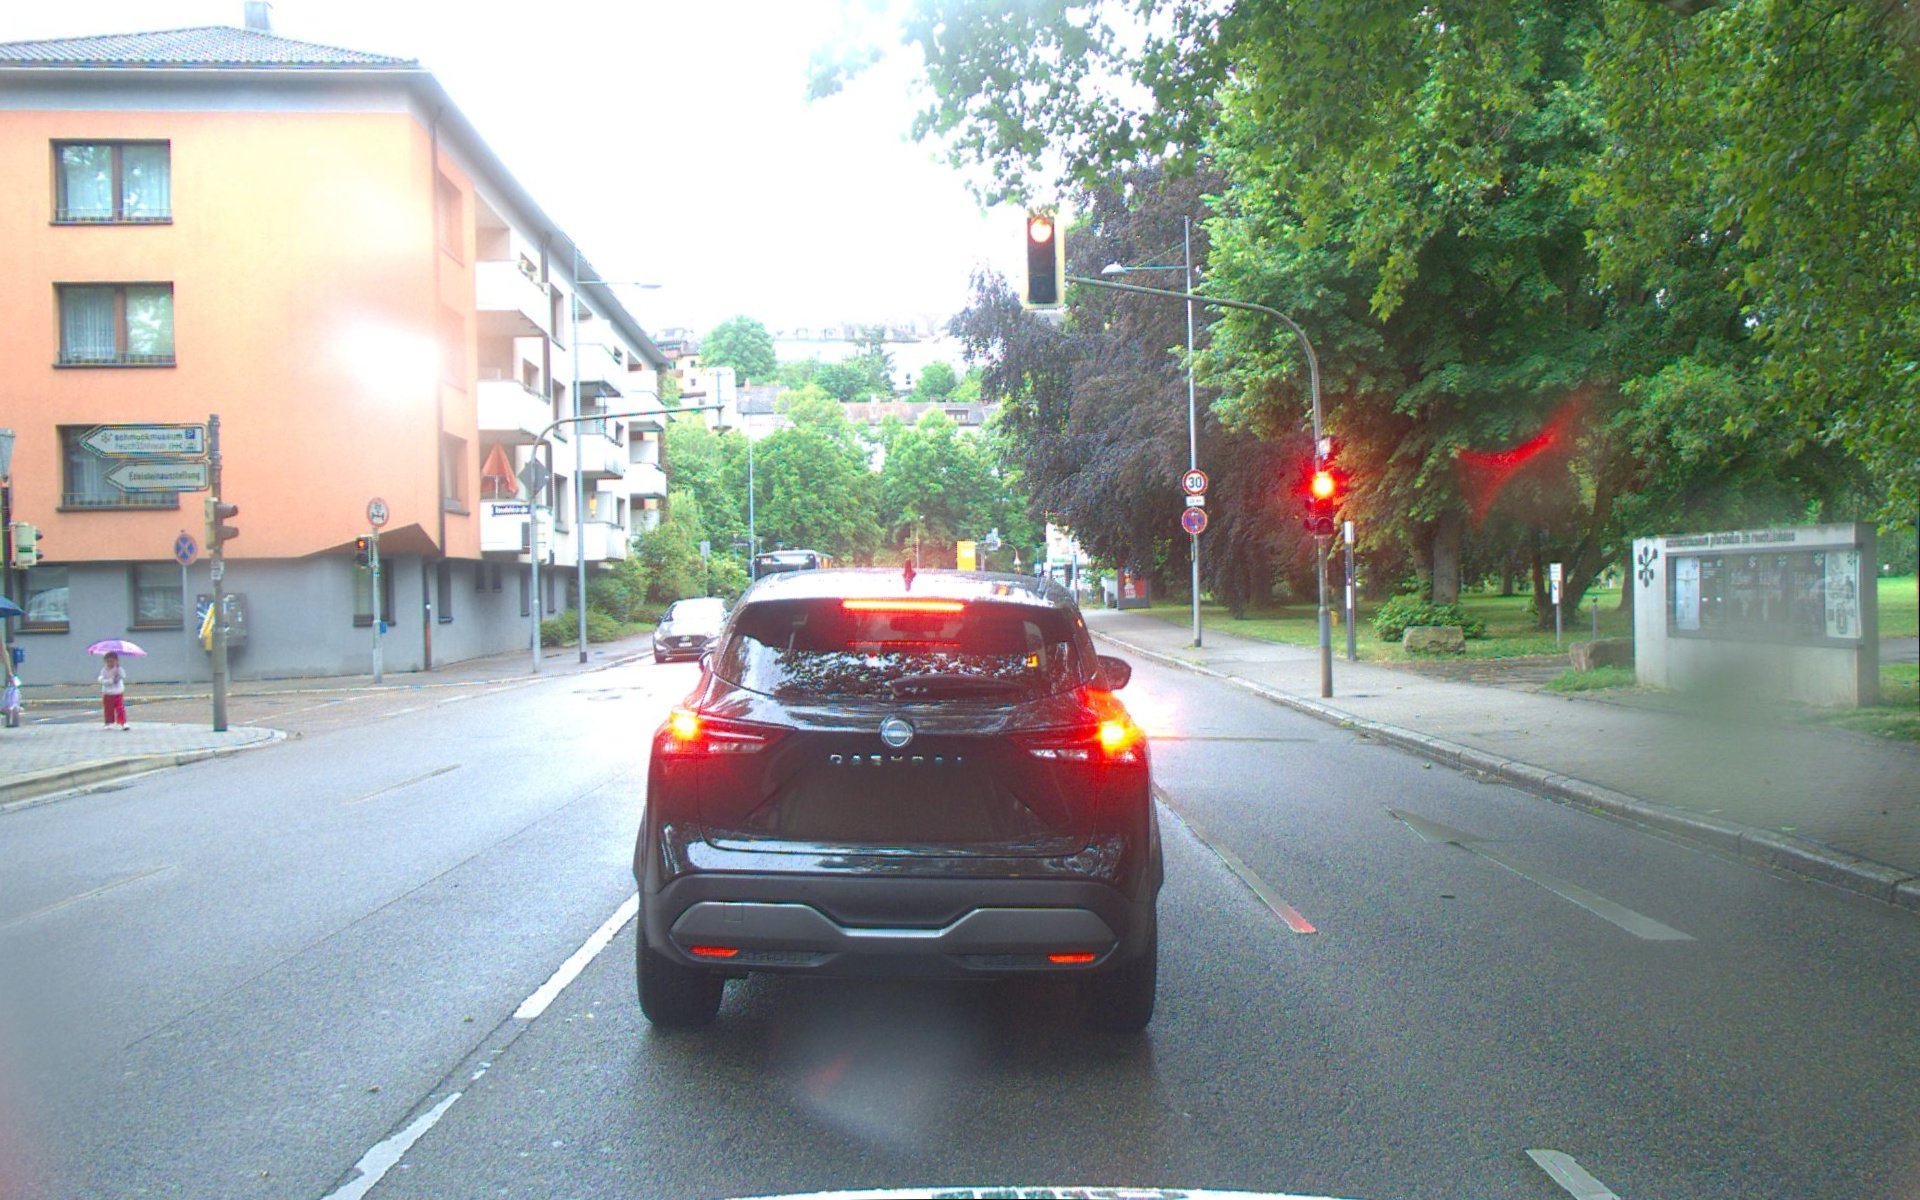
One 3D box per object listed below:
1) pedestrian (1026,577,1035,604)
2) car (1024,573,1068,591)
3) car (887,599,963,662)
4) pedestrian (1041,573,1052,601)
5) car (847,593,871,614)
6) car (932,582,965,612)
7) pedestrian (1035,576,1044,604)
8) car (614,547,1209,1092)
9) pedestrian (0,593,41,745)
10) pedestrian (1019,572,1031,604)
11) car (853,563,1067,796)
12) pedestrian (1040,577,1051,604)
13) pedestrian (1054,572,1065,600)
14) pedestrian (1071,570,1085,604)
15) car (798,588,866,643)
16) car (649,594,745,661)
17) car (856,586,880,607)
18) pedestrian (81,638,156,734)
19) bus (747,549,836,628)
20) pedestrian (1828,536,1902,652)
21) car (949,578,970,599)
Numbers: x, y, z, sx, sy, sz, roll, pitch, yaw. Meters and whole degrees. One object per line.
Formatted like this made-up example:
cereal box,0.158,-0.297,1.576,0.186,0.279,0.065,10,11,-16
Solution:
pedestrian,4.424,-0.604,103.854,0.533,1.680,0.490,1,-1,0
car,8.528,-1.774,164.279,3.916,1.713,1.995,-2,0,-11
car,-0.892,0.728,41.063,1.772,1.442,4.029,0,0,-2
pedestrian,5.633,-0.861,107.672,0.606,1.810,0.550,-2,0,-1
car,-7.692,0.249,126.436,1.643,1.495,4.215,-3,1,-2
car,-0.564,-0.153,83.145,1.591,1.439,3.454,-2,0,0
pedestrian,4.931,-0.628,102.610,0.504,1.684,0.550,1,-1,-1
car,-0.170,0.674,6.991,1.769,1.618,3.999,1,0,-1
pedestrian,-11.789,0.803,19.900,0.975,1.772,1.204,1,0,-15
pedestrian,4.511,-0.806,114.714,0.752,2.222,0.711,1,-1,2
car,0.028,0.603,14.648,1.588,1.738,3.771,-2,0,1
pedestrian,5.380,-0.615,104.159,0.685,1.680,0.628,1,-1,0
pedestrian,6.471,-0.917,107.968,0.606,1.810,0.550,-2,0,-1
pedestrian,6.410,-0.712,89.761,0.606,1.810,0.778,-2,0,-1
car,-3.542,0.403,46.303,1.591,1.439,3.454,-2,0,0
car,-6.437,0.640,40.823,1.772,1.441,4.029,-3,1,-2
car,-7.597,-0.295,137.134,1.714,1.662,3.634,-2,1,0
pedestrian,-10.830,1.096,21.311,0.673,1.195,0.823,1,0,-15
bus,-7.071,-0.470,71.029,2.710,3.026,11.779,-1,0,-1
pedestrian,13.971,-0.087,25.554,0.651,1.742,0.789,1,-1,-9
car,-0.061,-0.978,136.342,1.714,1.662,3.634,-2,1,0
